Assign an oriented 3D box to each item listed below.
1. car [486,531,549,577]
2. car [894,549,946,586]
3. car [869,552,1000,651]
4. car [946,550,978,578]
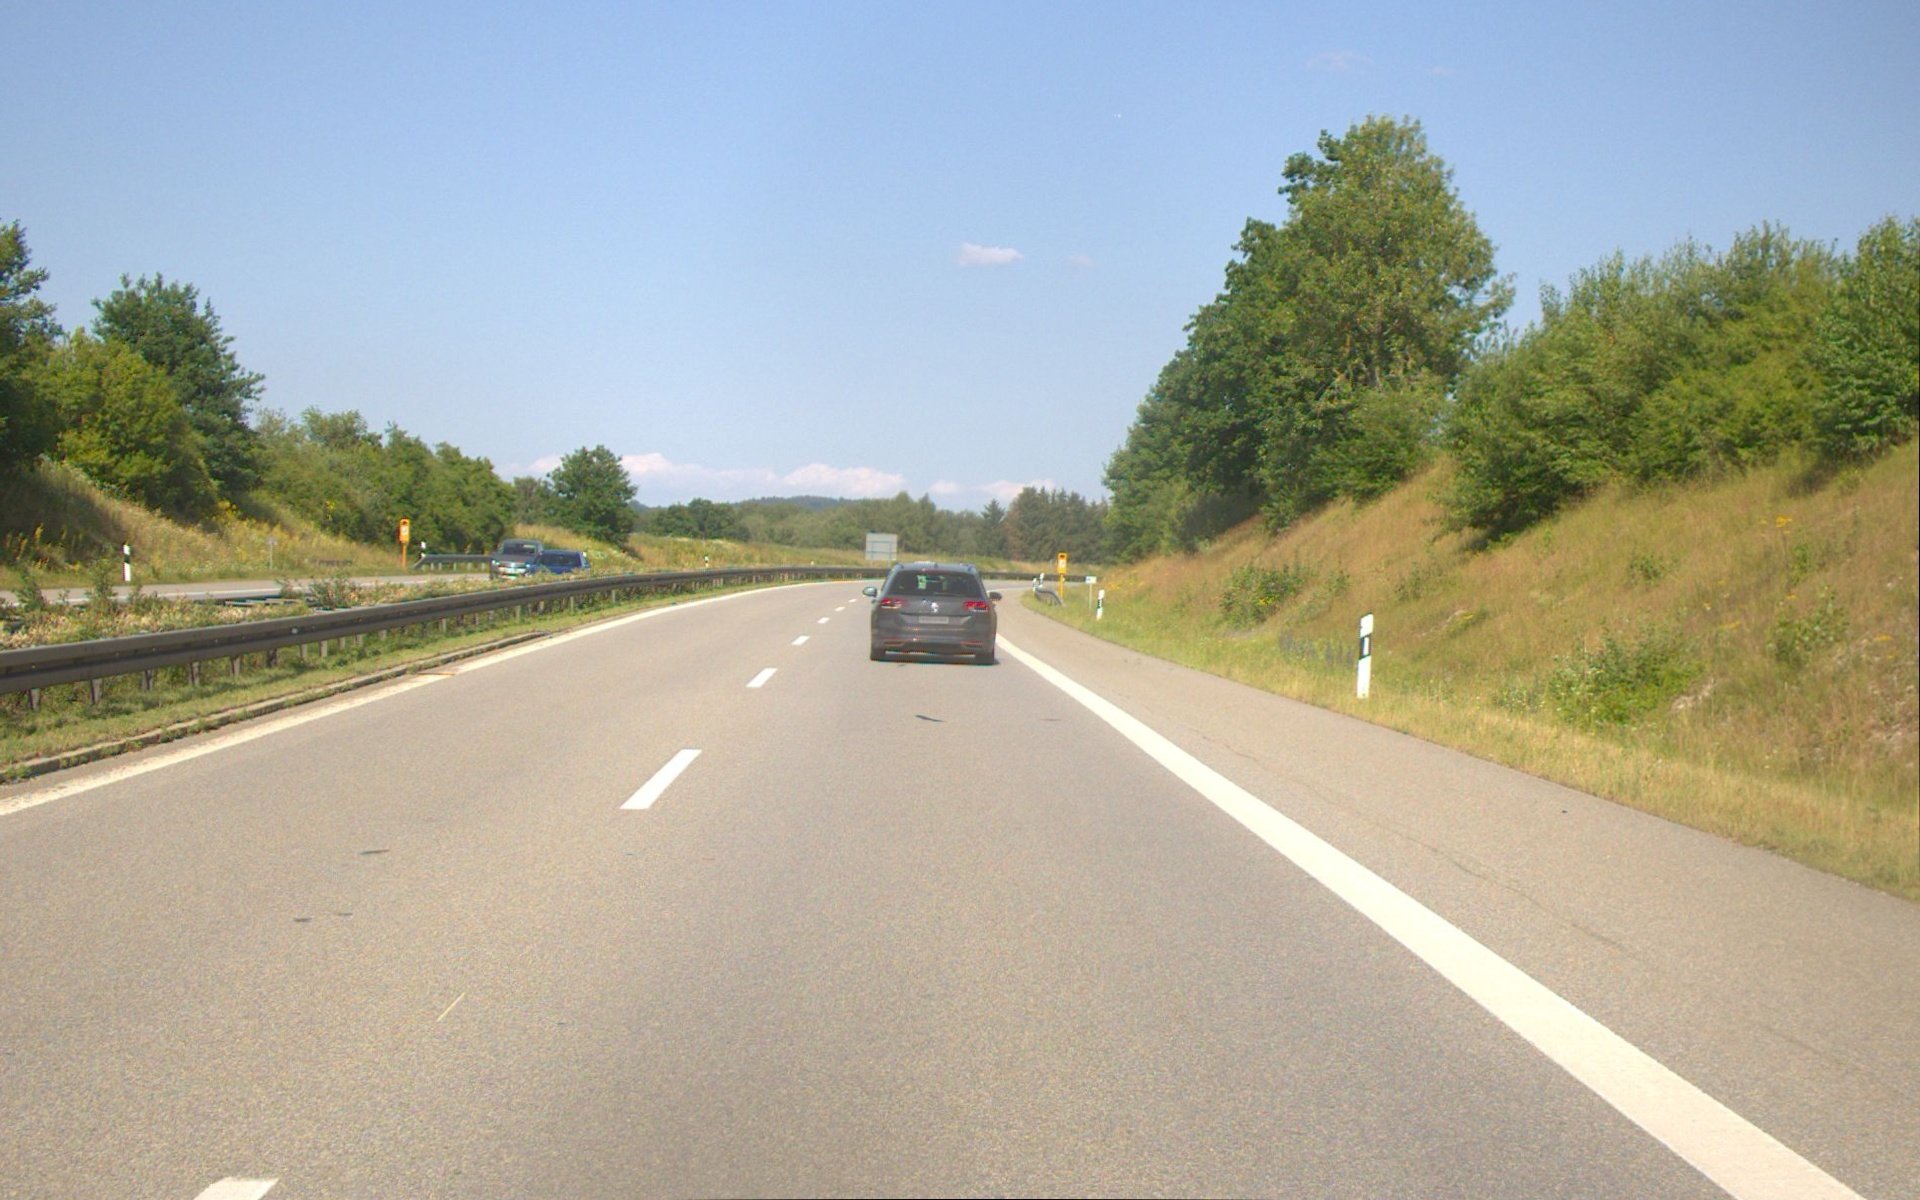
[{"bbox_3d":[-16.480,-1.712,128.160,1.767,1.579,4.793,3,1,-1],"label":"car"},{"bbox_3d":[-1.725,-1.380,147.533,2.007,1.340,4.000,6,0,-2],"label":"car"},{"bbox_3d":[-0.368,-0.007,49.842,1.791,1.340,4.000,1,1,0],"label":"car"},{"bbox_3d":[0.096,-2.029,195.370,1.710,1.382,3.355,5,0,0],"label":"car"}]
